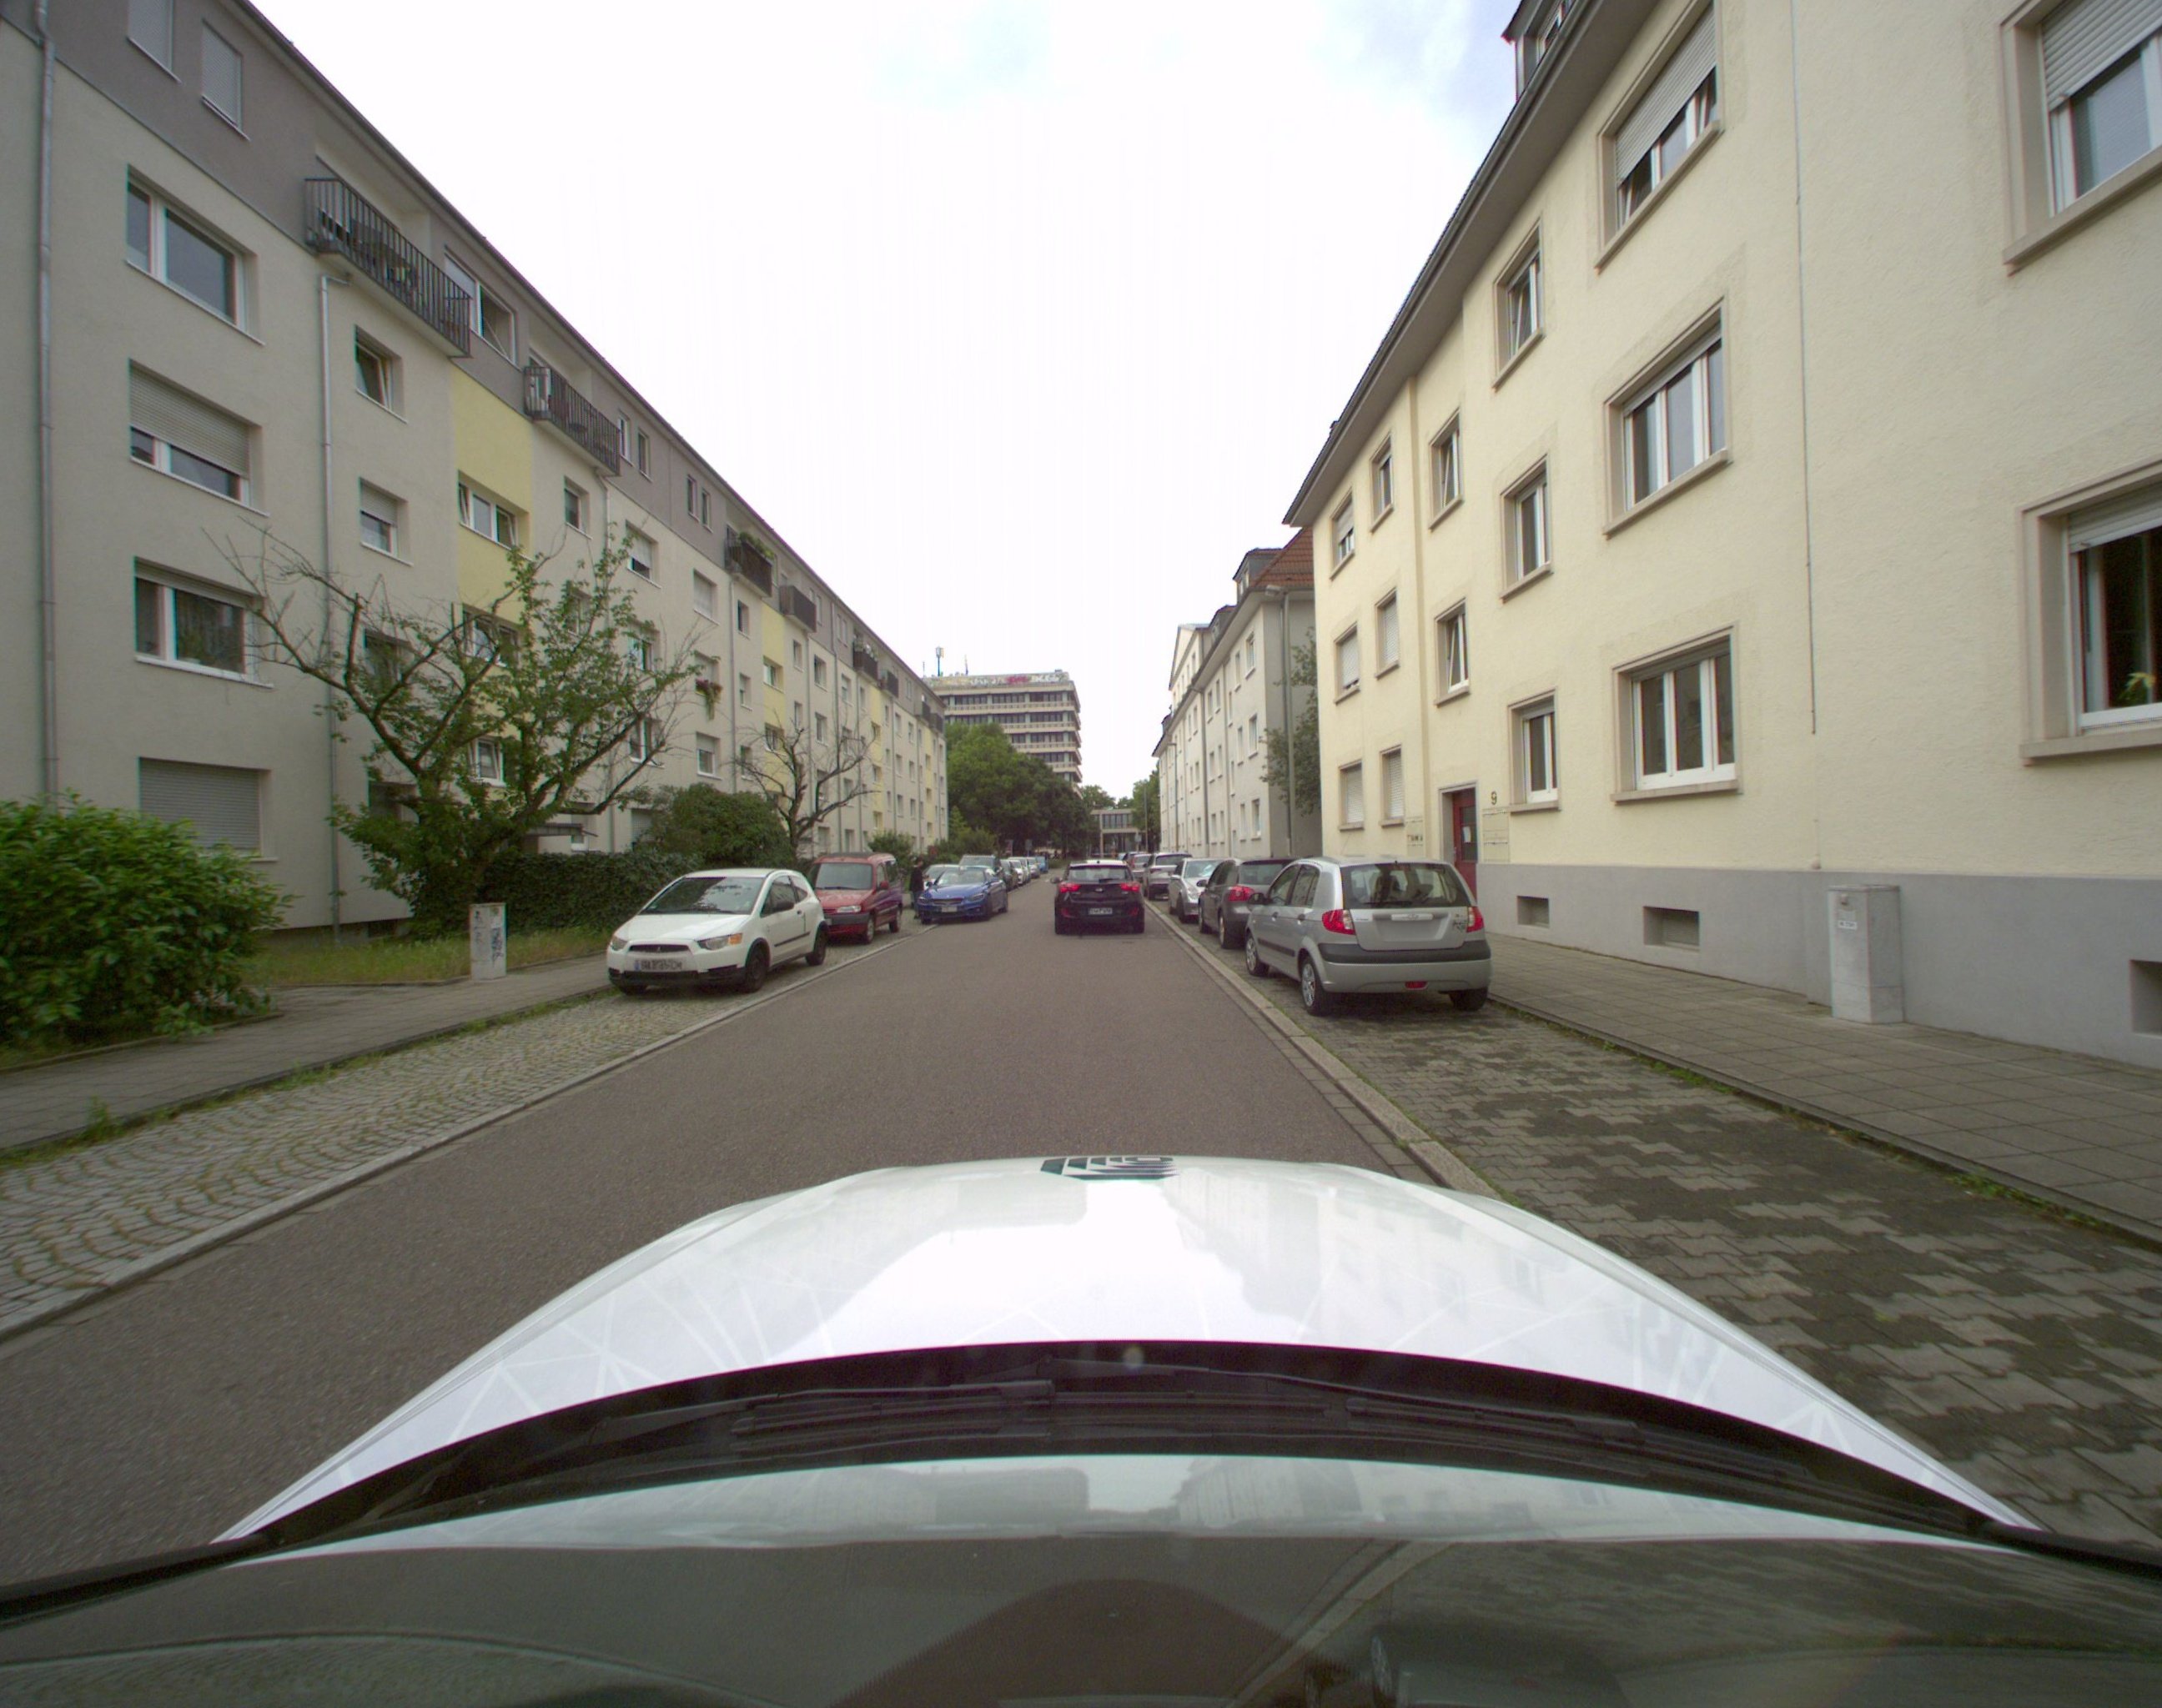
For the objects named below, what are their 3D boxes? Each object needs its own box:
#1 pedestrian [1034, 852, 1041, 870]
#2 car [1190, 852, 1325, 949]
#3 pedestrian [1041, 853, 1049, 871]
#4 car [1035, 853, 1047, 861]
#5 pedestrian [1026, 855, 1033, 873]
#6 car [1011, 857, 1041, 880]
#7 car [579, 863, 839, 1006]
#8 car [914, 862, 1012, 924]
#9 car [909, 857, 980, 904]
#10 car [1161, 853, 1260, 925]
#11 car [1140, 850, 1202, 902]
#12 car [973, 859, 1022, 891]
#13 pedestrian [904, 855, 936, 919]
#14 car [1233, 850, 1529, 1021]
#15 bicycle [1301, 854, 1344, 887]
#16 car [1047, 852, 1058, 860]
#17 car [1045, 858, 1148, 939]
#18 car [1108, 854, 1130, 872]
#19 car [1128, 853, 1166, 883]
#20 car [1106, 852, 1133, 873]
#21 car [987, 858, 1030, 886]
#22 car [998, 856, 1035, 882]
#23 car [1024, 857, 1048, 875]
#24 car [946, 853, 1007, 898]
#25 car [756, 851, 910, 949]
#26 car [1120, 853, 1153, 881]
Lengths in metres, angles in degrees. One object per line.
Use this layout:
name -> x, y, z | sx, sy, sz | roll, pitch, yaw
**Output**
pedestrian -> -4.371, 0.710, 81.609 | 0.602, 1.831, 0.676 | -1, 0, 2
car -> 2.962, 0.712, 14.400 | 1.597, 1.476, 3.870 | -1, 0, 1
pedestrian -> -3.599, 0.803, 81.395 | 0.711, 1.831, 0.798 | -1, 0, 2
car -> -6.458, 0.481, 130.711 | 1.660, 1.333, 3.396 | -1, 0, 1
pedestrian -> -5.140, 1.014, 81.312 | 0.598, 1.713, 0.649 | -1, 0, 2
car -> -4.008, 1.045, 60.146 | 1.988, 1.541, 3.998 | -1, 0, -1
car -> -4.786, 0.929, 11.153 | 1.714, 1.570, 3.871 | 0, 0, 1
car -> -3.097, 0.977, 22.287 | 1.838, 1.451, 4.503 | -1, 0, 2
car -> -4.718, 0.866, 28.651 | 1.738, 1.464, 3.786 | -2, 0, 1
car -> 2.941, 0.740, 19.339 | 1.719, 1.476, 4.505 | -1, 0, 1
car -> 3.046, 0.695, 28.233 | 1.813, 1.642, 4.092 | -1, 0, 2
car -> -4.067, 1.014, 40.365 | 1.888, 1.452, 4.667 | 1, 0, 1
pedestrian -> -4.418, 0.894, 22.290 | 0.742, 1.701, 0.791 | -2, 0, -17
car -> 2.967, 0.706, 8.993 | 1.843, 1.450, 3.832 | -1, 0, 0
bicycle -> 8.177, 0.564, 27.593 | 1.287, 1.062, 0.498 | -2, 0, 2
car -> -4.989, 0.389, 144.140 | 1.660, 1.333, 3.396 | -1, 0, 1
car -> 0.350, 0.847, 17.434 | 1.896, 1.433, 4.234 | -2, 0, 2
car -> 3.356, 0.765, 72.847 | 1.814, 1.519, 4.674 | -1, 0, 1
car -> 3.544, 0.734, 44.306 | 1.813, 1.503, 4.092 | -1, 0, 2
car -> 2.890, 0.608, 62.242 | 1.814, 1.519, 4.673 | -2, 0, 0
car -> -4.016, 0.972, 45.712 | 1.888, 1.452, 4.521 | 1, 0, 1
car -> -4.059, 0.926, 51.837 | 1.888, 1.599, 4.521 | 1, 0, 1
car -> -3.990, 1.034, 72.466 | 1.988, 1.541, 3.998 | -1, 0, -1
car -> -4.290, 0.846, 34.196 | 1.888, 1.740, 4.475 | 1, 0, 1
car -> -4.969, 0.836, 16.992 | 1.951, 1.770, 4.359 | -1, 0, -1
car -> 3.315, 0.756, 49.079 | 1.813, 1.603, 4.092 | -2, 0, 2
